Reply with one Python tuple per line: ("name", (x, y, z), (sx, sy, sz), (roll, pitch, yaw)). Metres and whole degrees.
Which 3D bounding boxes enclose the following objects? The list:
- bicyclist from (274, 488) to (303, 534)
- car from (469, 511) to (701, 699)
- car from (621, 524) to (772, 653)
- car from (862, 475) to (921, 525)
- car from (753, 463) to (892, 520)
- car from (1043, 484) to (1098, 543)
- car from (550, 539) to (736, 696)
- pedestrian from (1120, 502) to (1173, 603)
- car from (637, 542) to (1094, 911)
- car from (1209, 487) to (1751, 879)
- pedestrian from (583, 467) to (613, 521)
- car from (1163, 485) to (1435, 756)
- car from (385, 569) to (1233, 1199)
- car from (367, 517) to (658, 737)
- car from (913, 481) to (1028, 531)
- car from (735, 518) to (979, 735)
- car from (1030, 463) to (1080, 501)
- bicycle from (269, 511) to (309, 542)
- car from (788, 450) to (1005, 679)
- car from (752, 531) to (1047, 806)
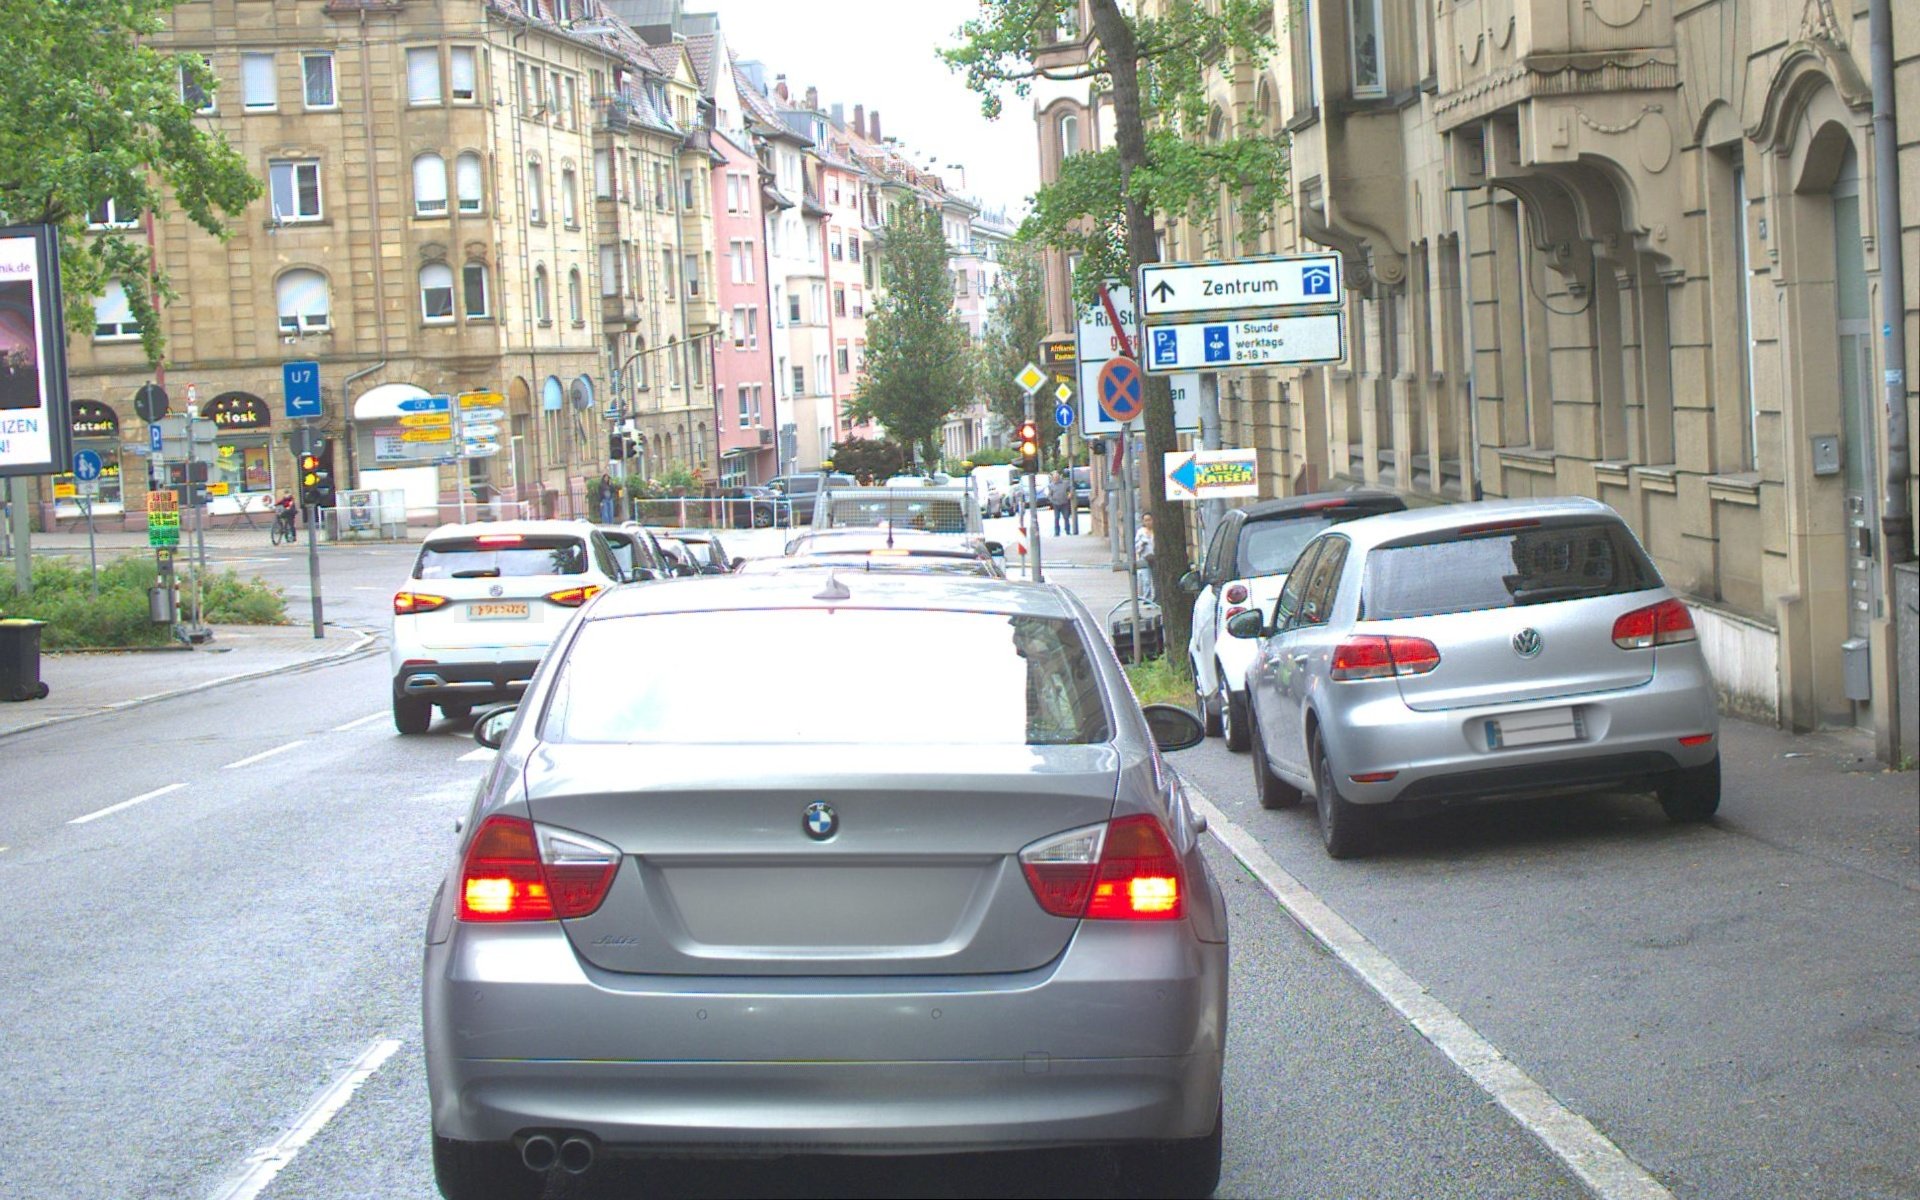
("bicyclist", (-18.830, -2.502, 96.425), (0.569, 1.268, 0.689), (1, 0, 11))
("car", (-3.571, -0.005, 33.376), (1.759, 1.702, 4.000), (-1, 1, 1))
("car", (-3.655, -0.199, 48.322), (1.759, 1.702, 4.000), (-1, 1, 1))
("car", (-2.086, -3.037, 104.729), (1.715, 1.445, 3.743), (-2, 1, -1))
("car", (-5.164, -4.086, 130.080), (5.176, 2.007, 2.699), (1, 1, -1))
("car", (3.897, -3.080, 122.207), (1.686, 2.006, 4.000), (-3, 2, -1))
("car", (-3.672, 0.158, 40.435), (1.759, 1.702, 4.000), (-1, 1, 1))
("pedestrian", (2.914, -0.743, 53.645), (0.631, 1.503, 0.693), (-6, 1, -1))
("car", (-0.348, 0.461, 15.382), (1.759, 1.378, 4.000), (-1, 1, 1))
("car", (2.307, 0.299, 16.285), (1.759, 1.446, 4.000), (-6, 1, -1))
("pedestrian", (-10.663, -3.129, 101.328), (0.732, 1.572, 0.528), (-2, 1, 8))
("car", (2.179, 0.093, 22.664), (1.299, 1.537, 2.976), (-6, 1, -1))
("car", (-0.272, 0.655, 8.454), (1.623, 1.378, 3.615), (-1, 1, 1))
("car", (-3.527, 0.156, 27.779), (1.868, 1.620, 4.000), (-1, 1, -1))
("car", (0.359, -3.100, 113.775), (1.997, 1.573, 3.993), (1, 1, 32))
("car", (-0.745, 0.146, 27.242), (1.759, 1.562, 4.000), (-1, 1, 1))
("car", (3.128, -3.882, 113.374), (1.434, 1.170, 3.435), (1, 1, -2))
("bicycle", (-18.833, -2.066, 96.514), (0.573, 0.855, 1.521), (1, 1, 9))
("car", (-0.607, -0.361, 33.668), (1.993, 2.099, 4.000), (0, 1, -1))
("car", (-0.313, 0.335, 20.805), (1.595, 1.459, 4.000), (-1, 1, 1))
